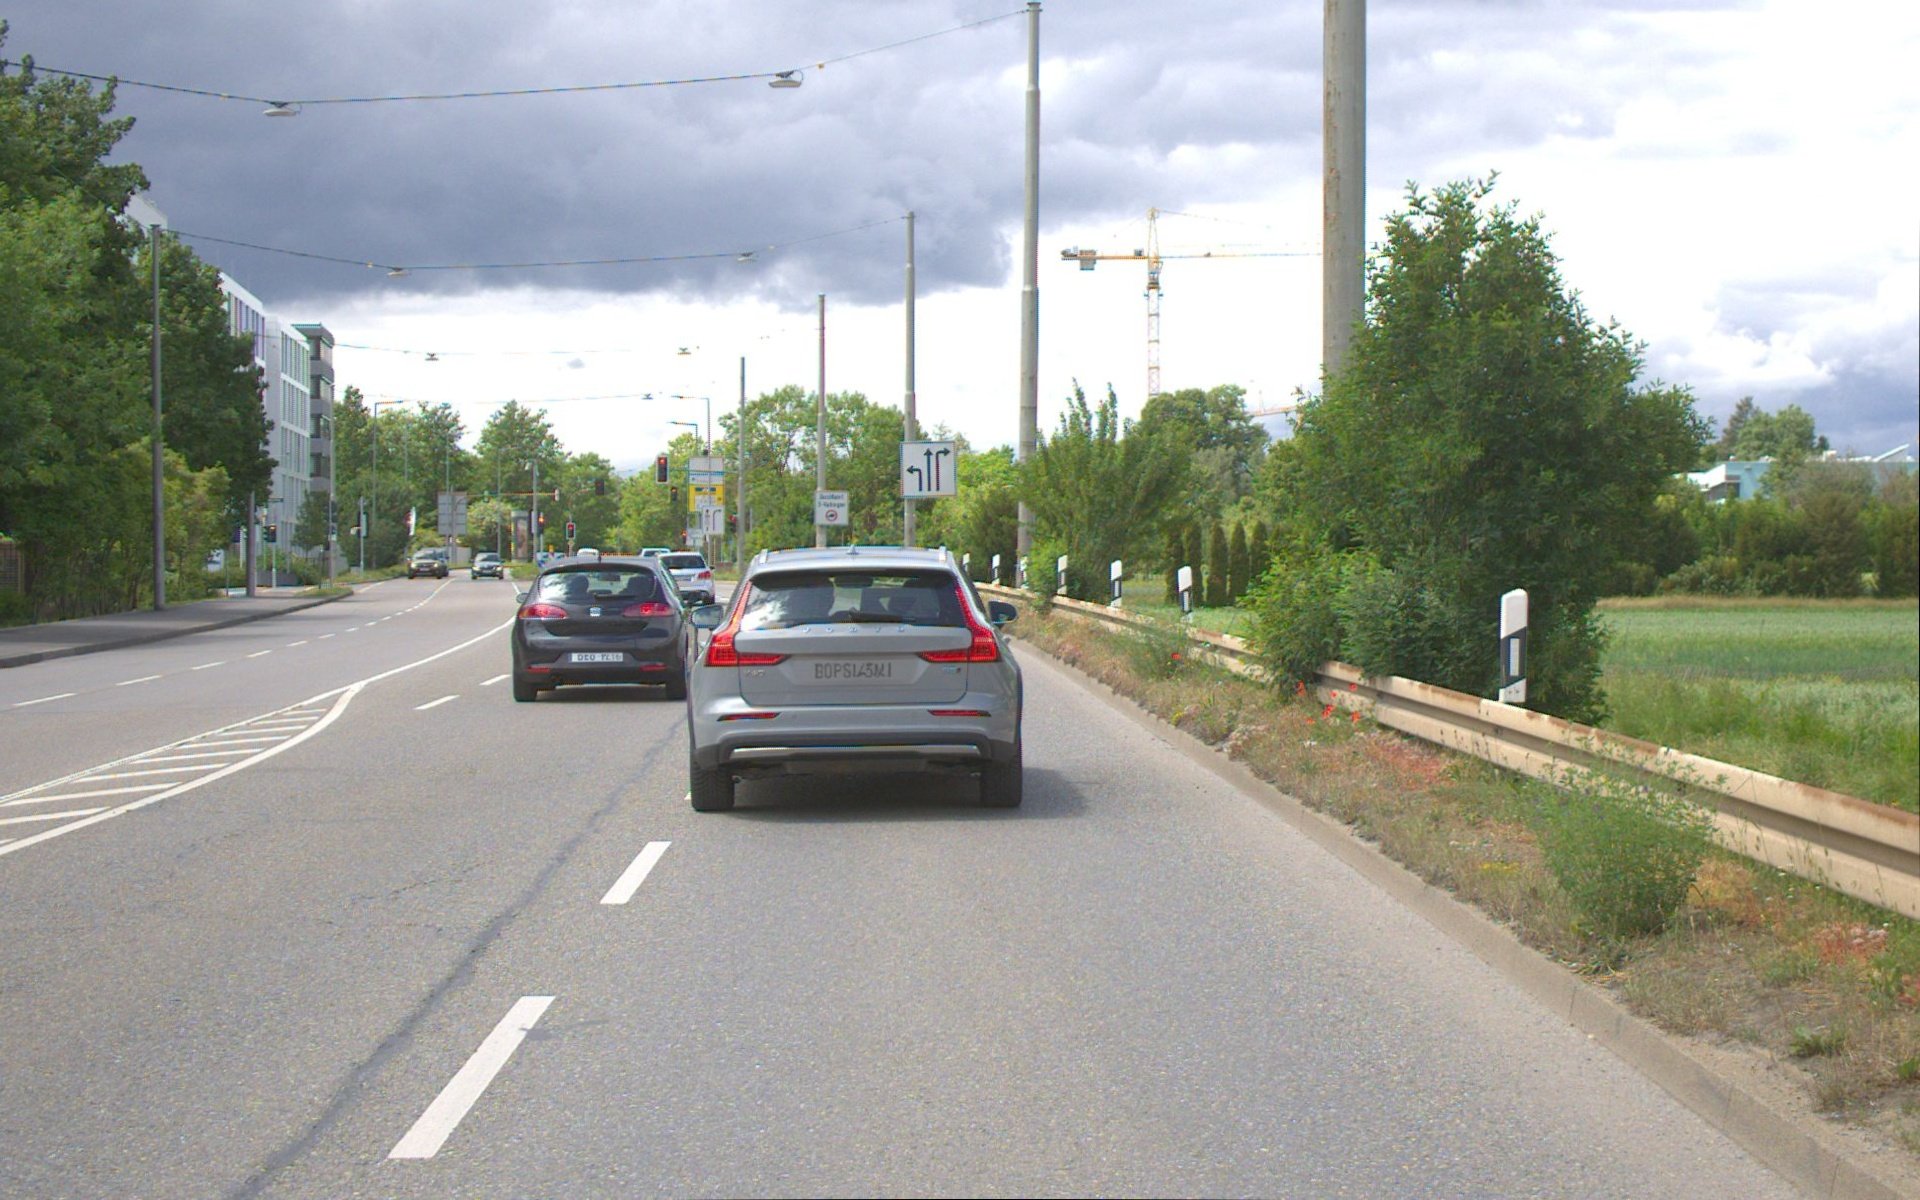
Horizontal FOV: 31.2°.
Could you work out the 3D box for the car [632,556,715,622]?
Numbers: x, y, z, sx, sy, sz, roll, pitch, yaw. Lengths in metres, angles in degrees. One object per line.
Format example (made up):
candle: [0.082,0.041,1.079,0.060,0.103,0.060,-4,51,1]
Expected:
car: [-7.814,-0.288,94.088,1.993,1.689,4.000,2,0,-2]

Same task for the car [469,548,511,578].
car: [-25.822,-2.019,188.985,1.881,1.515,4.000,2,0,-3]

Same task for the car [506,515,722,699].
car: [-3.476,0.066,35.220,1.993,1.711,4.000,2,0,-4]

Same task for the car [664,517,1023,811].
car: [-0.628,0.341,20.184,1.895,1.549,4.000,0,0,0]

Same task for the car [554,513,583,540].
car: [-27.995,-5.235,245.771,1.948,1.744,4.389,2,0,-6]

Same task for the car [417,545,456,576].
car: [-31.496,-2.374,207.027,1.881,1.711,4.000,2,0,-3]

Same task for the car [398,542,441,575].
car: [-29.971,-2.269,190.705,1.881,1.711,4.000,2,0,-3]
